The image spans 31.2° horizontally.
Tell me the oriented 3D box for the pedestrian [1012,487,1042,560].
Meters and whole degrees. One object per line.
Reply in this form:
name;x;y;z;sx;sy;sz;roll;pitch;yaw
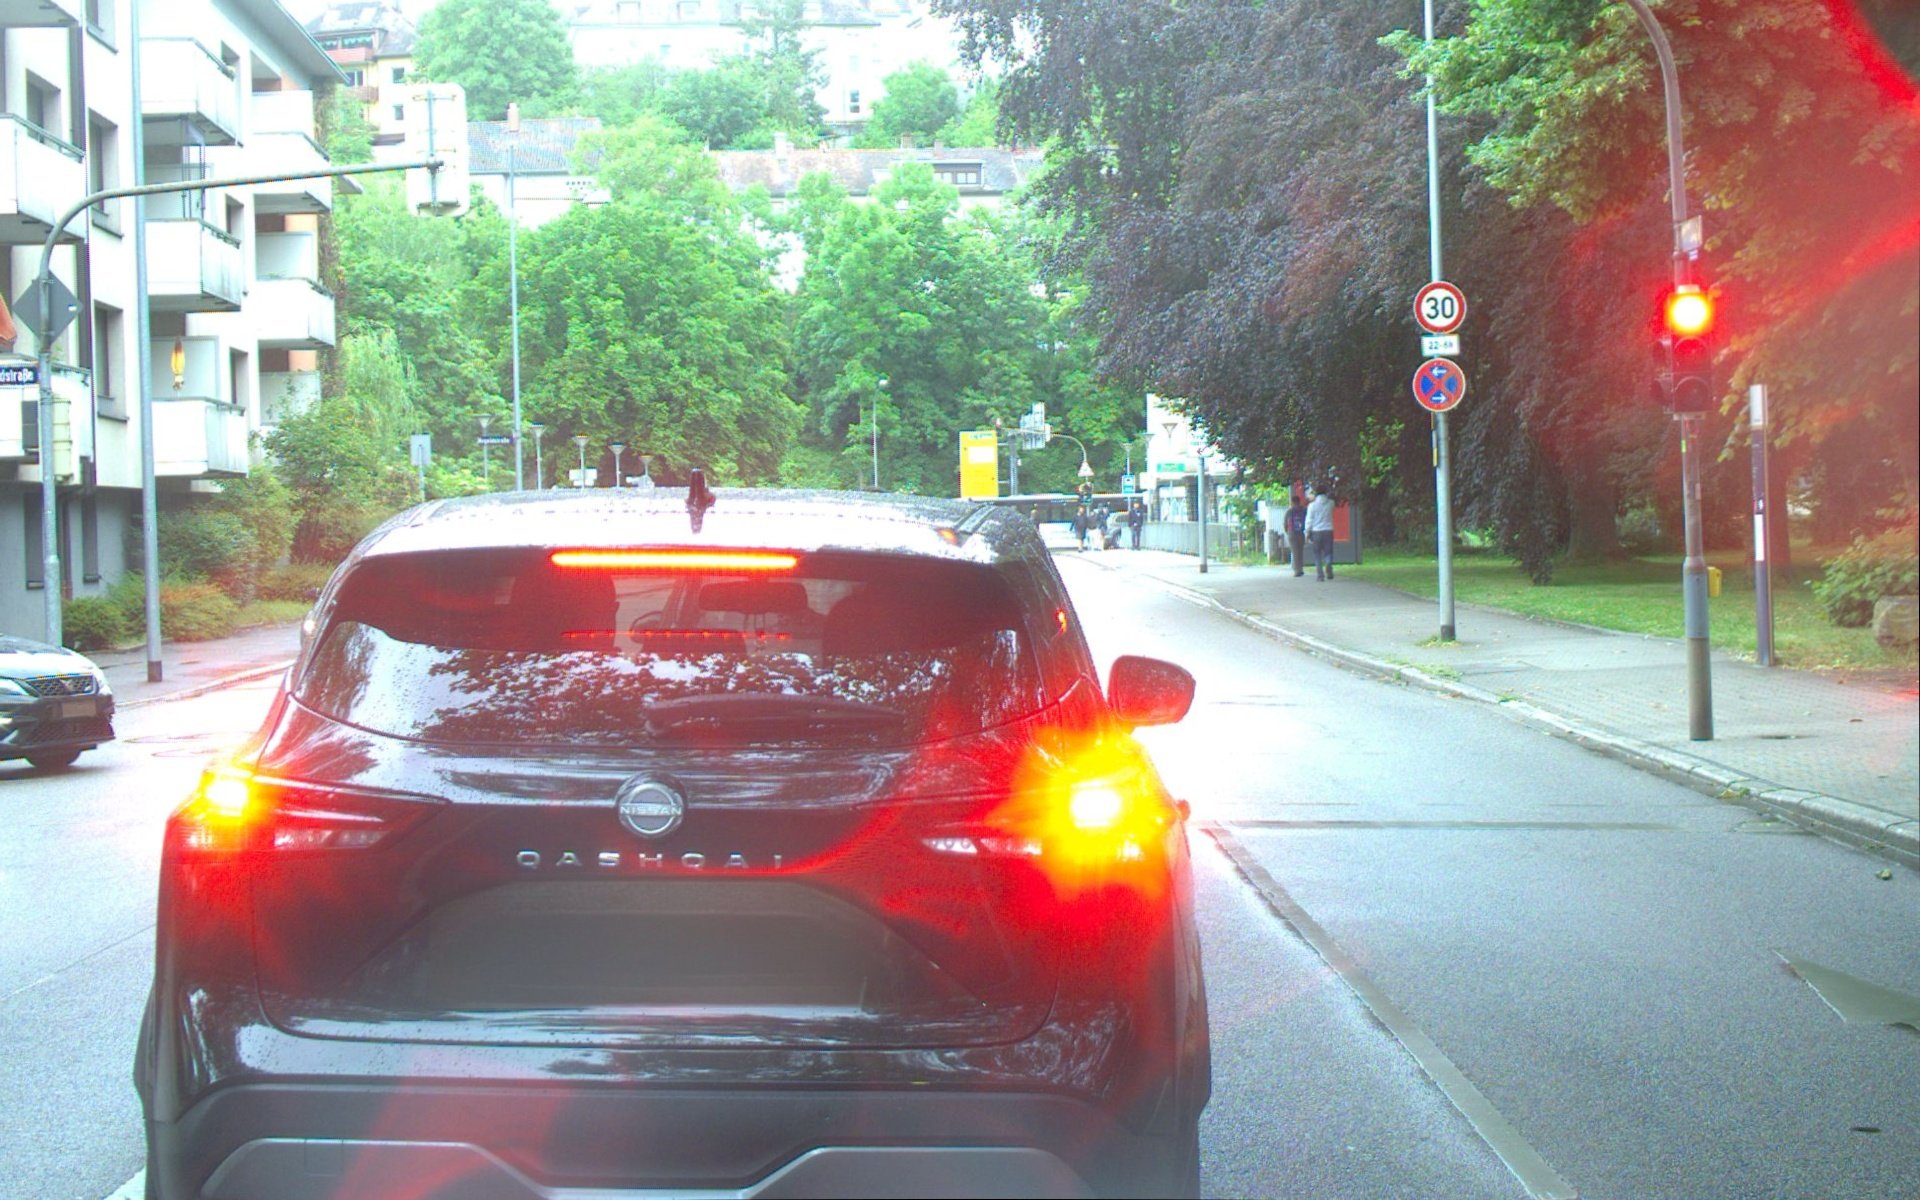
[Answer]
pedestrian;1.686;-1.930;86.810;0.508;1.795;0.620;-3;1;-22

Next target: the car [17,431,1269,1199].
car;-0.505;0.537;7.273;1.913;1.674;4.000;0;1;0

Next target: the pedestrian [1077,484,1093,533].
pedestrian;4.597;-3.362;126.332;0.508;1.795;0.619;-2;1;-1

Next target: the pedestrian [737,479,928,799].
pedestrian;-0.767;0.227;20.486;1.035;1.869;0.658;0;1;-11

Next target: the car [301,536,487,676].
car;-6.743;0.033;41.302;1.795;1.528;3.868;-2;1;-4

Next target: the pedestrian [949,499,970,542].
pedestrian;-0.013;-3.140;135.356;0.509;1.667;0.658;-1;1;27

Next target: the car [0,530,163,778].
car;-7.994;0.399;24.536;4.128;1.620;1.850;-2;1;23

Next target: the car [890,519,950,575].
car;-1.145;-1.540;98.820;1.634;1.527;3.968;-2;1;-1

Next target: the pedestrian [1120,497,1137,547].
pedestrian;6.137;-2.849;125.573;0.508;1.795;0.619;-2;1;-2

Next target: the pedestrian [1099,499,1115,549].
pedestrian;5.384;-2.790;125.642;0.508;1.795;0.659;-2;1;0

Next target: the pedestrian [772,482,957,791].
pedestrian;-0.595;0.220;21.237;1.035;1.869;0.658;0;1;-11

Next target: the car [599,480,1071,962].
car;-0.485;0.410;14.654;1.698;1.739;3.641;-2;1;-1

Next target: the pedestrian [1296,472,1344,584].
pedestrian;6.580;-1.322;62.877;0.725;2.007;0.851;-2;1;0

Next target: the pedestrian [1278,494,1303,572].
pedestrian;6.469;-1.310;67.310;0.390;1.497;0.559;-2;1;0

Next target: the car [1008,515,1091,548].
car;4.600;-3.526;176.609;3.953;1.527;1.640;-2;1;-10

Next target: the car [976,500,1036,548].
car;1.762;-2.871;130.538;1.994;1.729;3.999;1;1;4
